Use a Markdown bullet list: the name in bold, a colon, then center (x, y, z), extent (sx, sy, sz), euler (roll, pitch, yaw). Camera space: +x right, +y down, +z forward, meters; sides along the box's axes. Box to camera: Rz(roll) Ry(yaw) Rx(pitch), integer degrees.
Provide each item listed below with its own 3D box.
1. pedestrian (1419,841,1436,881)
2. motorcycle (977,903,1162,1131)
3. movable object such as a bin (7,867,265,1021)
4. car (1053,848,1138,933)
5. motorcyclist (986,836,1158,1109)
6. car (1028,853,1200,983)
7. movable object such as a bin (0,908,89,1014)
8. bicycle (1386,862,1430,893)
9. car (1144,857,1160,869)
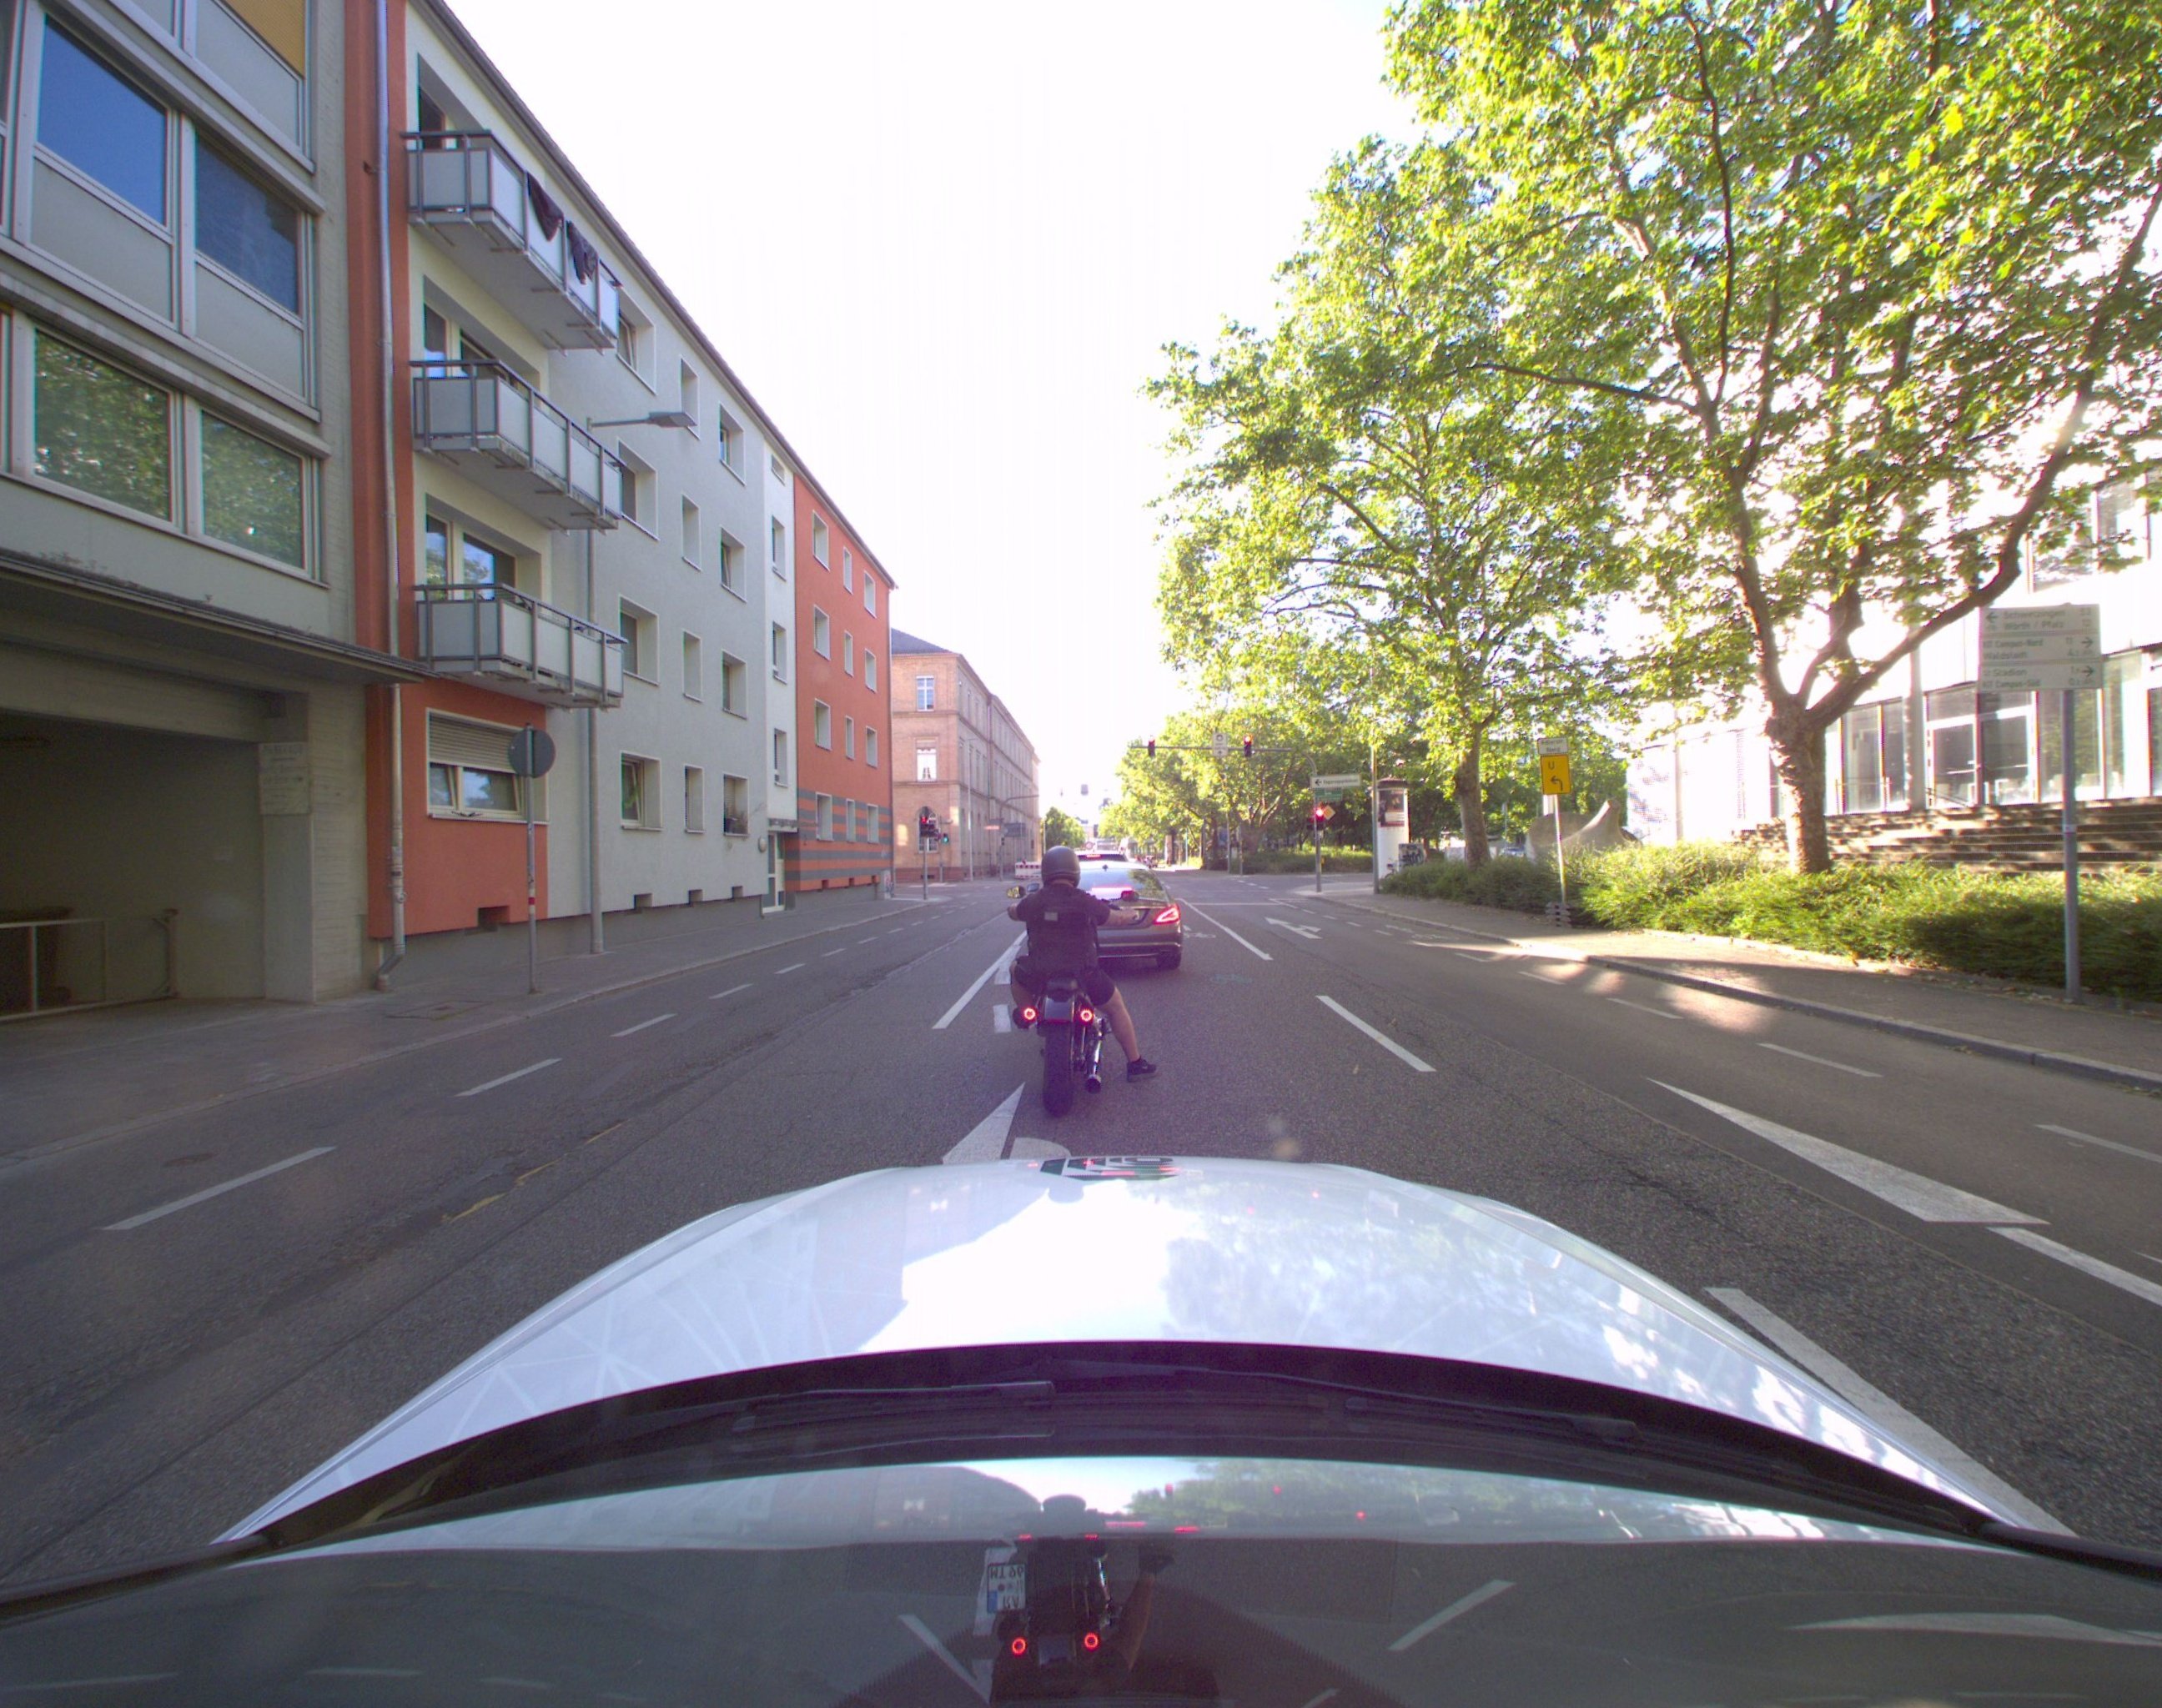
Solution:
- **pedestrian**: center (16.355, 0.343, 38.448), extent (0.549, 1.849, 0.594), euler (-1, 0, 3)
- **motorcycle**: center (-0.025, 0.963, 5.679), extent (0.986, 1.078, 2.453), euler (-1, 0, 2)
- **movable object such as a bin**: center (-9.623, 0.875, 8.365), extent (1.322, 1.430, 1.134), euler (-1, 0, 3)
- **car**: center (0.323, 0.711, 17.888), extent (1.606, 1.607, 4.329), euler (-1, 0, 1)
- **motorcyclist**: center (-0.033, 0.704, 5.526), extent (0.986, 1.597, 1.404), euler (-1, 0, 2)
- **car**: center (0.259, 0.748, 11.718), extent (1.943, 1.473, 4.355), euler (-1, 0, -5)
- **movable object such as a bin**: center (-11.313, 1.122, 8.680), extent (0.593, 1.041, 0.703), euler (0, -1, 1)
- **bicycle**: center (11.048, 0.796, 27.524), extent (1.346, 1.023, 0.363), euler (-1, 0, 2)
- **car**: center (8.931, 1.114, 102.596), extent (1.814, 1.481, 3.911), euler (-3, 0, 3)
